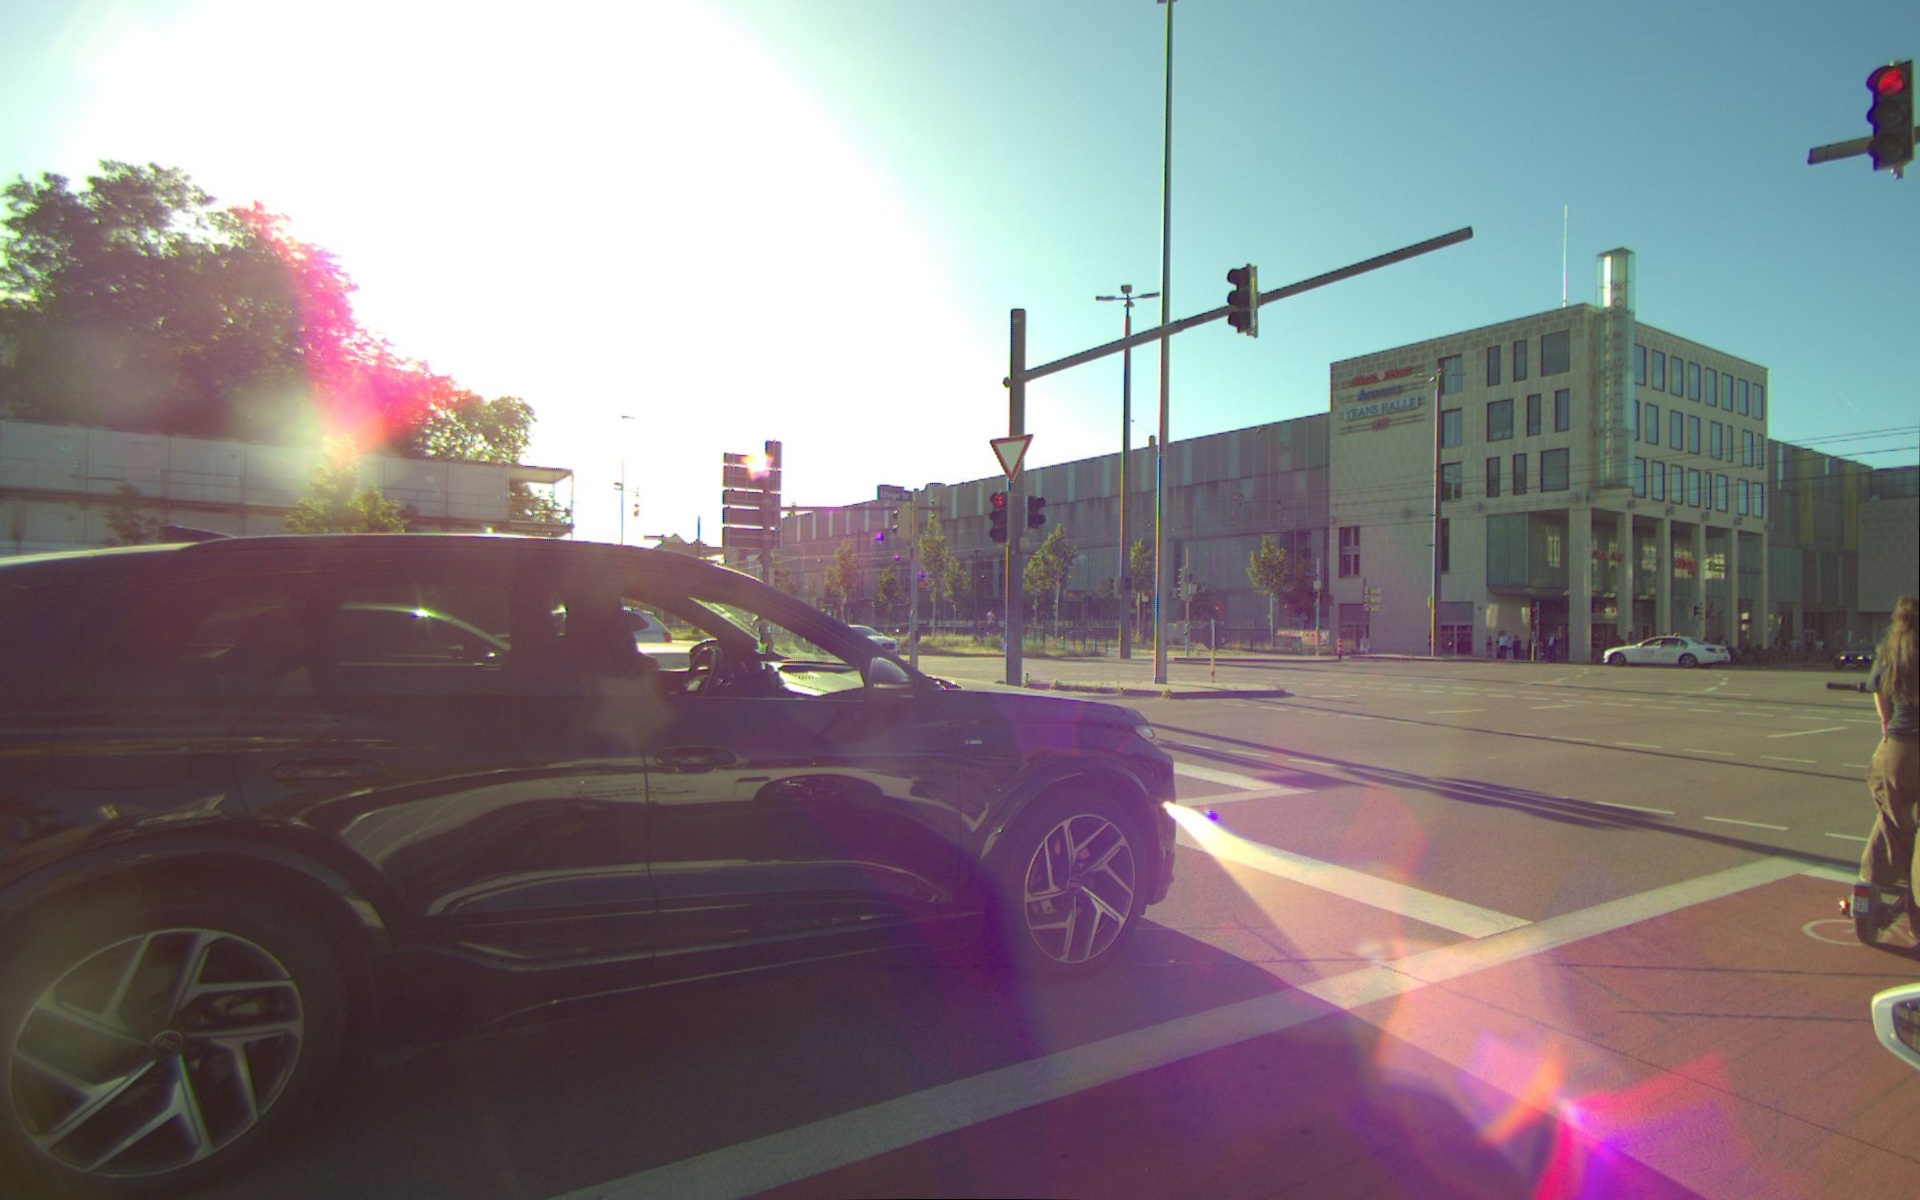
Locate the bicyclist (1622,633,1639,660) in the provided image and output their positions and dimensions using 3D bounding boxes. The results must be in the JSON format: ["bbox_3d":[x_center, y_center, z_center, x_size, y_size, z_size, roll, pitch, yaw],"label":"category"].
[{"bbox_3d":[37.357,2.589,55.956,0.577,1.467,0.628,0,-1,4],"label":"bicyclist"}]

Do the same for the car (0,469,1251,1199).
[{"bbox_3d":[-1.248,0.605,4.079,4.613,1.729,2.153,1,0,-32],"label":"car"}]

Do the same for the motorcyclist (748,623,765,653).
[{"bbox_3d":[-10.389,1.920,51.258,0.594,1.499,0.744,1,-1,-37],"label":"motorcyclist"}]

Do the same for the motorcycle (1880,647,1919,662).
[{"bbox_3d":[70.547,4.057,75.043,1.106,1.006,2.582,2,0,-38],"label":"motorcycle"}]

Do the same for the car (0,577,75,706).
[{"bbox_3d":[-16.633,0.607,14.965,4.878,1.947,1.871,1,-1,-33],"label":"car"}]

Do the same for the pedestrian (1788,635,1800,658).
[{"bbox_3d":[64.911,3.617,78.157,0.510,1.705,0.472,2,0,9],"label":"pedestrian"}]

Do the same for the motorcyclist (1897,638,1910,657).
[{"bbox_3d":[70.645,3.564,75.223,0.657,1.424,0.623,2,0,-38],"label":"motorcyclist"}]

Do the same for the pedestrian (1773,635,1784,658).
[{"bbox_3d":[64.381,3.648,79.010,0.510,1.752,0.472,2,0,9],"label":"pedestrian"}]

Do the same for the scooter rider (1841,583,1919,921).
[{"bbox_3d":[4.580,0.700,4.745,0.445,1.550,0.548,1,-1,-38],"label":"scooter rider"}]

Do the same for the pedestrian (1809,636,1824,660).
[{"bbox_3d":[64.267,3.626,75.361,0.681,1.752,0.472,2,0,9],"label":"pedestrian"}]

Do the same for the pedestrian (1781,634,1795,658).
[{"bbox_3d":[62.780,3.490,76.137,0.615,1.752,0.472,2,0,4],"label":"pedestrian"}]

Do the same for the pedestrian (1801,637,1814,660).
[{"bbox_3d":[65.334,3.723,77.435,0.616,1.752,0.471,2,0,-1],"label":"pedestrian"}]

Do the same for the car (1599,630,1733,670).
[{"bbox_3d":[32.726,2.268,46.733,1.804,1.706,4.820,1,-2,-31],"label":"car"}]

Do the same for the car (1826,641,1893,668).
[{"bbox_3d":[49.829,2.997,55.629,3.975,1.375,1.668,1,-1,-31],"label":"car"}]

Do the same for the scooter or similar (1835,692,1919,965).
[{"bbox_3d":[4.360,1.018,4.697,0.832,1.122,0.303,2,-1,-42],"label":"scooter or similar"}]

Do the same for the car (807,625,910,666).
[{"bbox_3d":[-4.395,1.882,42.785,1.983,1.585,5.043,2,-2,-39],"label":"car"}]

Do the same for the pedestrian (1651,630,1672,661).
[{"bbox_3d":[42.853,2.767,61.391,0.529,1.889,0.943,1,-1,-13],"label":"pedestrian"}]

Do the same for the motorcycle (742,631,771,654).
[{"bbox_3d":[-10.397,2.146,51.238,0.643,1.115,1.940,1,-1,-37],"label":"motorcycle"}]

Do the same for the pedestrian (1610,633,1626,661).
[{"bbox_3d":[39.801,2.836,60.787,0.622,1.667,0.589,1,-1,-30],"label":"pedestrian"}]

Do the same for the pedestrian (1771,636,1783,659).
[{"bbox_3d":[63.667,3.677,78.257,0.510,1.752,0.472,2,0,9],"label":"pedestrian"}]

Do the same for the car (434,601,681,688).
[{"bbox_3d":[-7.170,0.775,17.973,3.897,1.395,1.715,1,-1,-30],"label":"car"}]

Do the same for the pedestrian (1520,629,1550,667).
[{"bbox_3d":[26.171,2.192,45.696,0.994,1.697,0.818,1,-1,-33],"label":"pedestrian"}]

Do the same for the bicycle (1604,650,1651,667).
[{"bbox_3d":[37.209,3.237,55.968,2.174,0.915,0.638,0,-1,2],"label":"bicycle"}]
